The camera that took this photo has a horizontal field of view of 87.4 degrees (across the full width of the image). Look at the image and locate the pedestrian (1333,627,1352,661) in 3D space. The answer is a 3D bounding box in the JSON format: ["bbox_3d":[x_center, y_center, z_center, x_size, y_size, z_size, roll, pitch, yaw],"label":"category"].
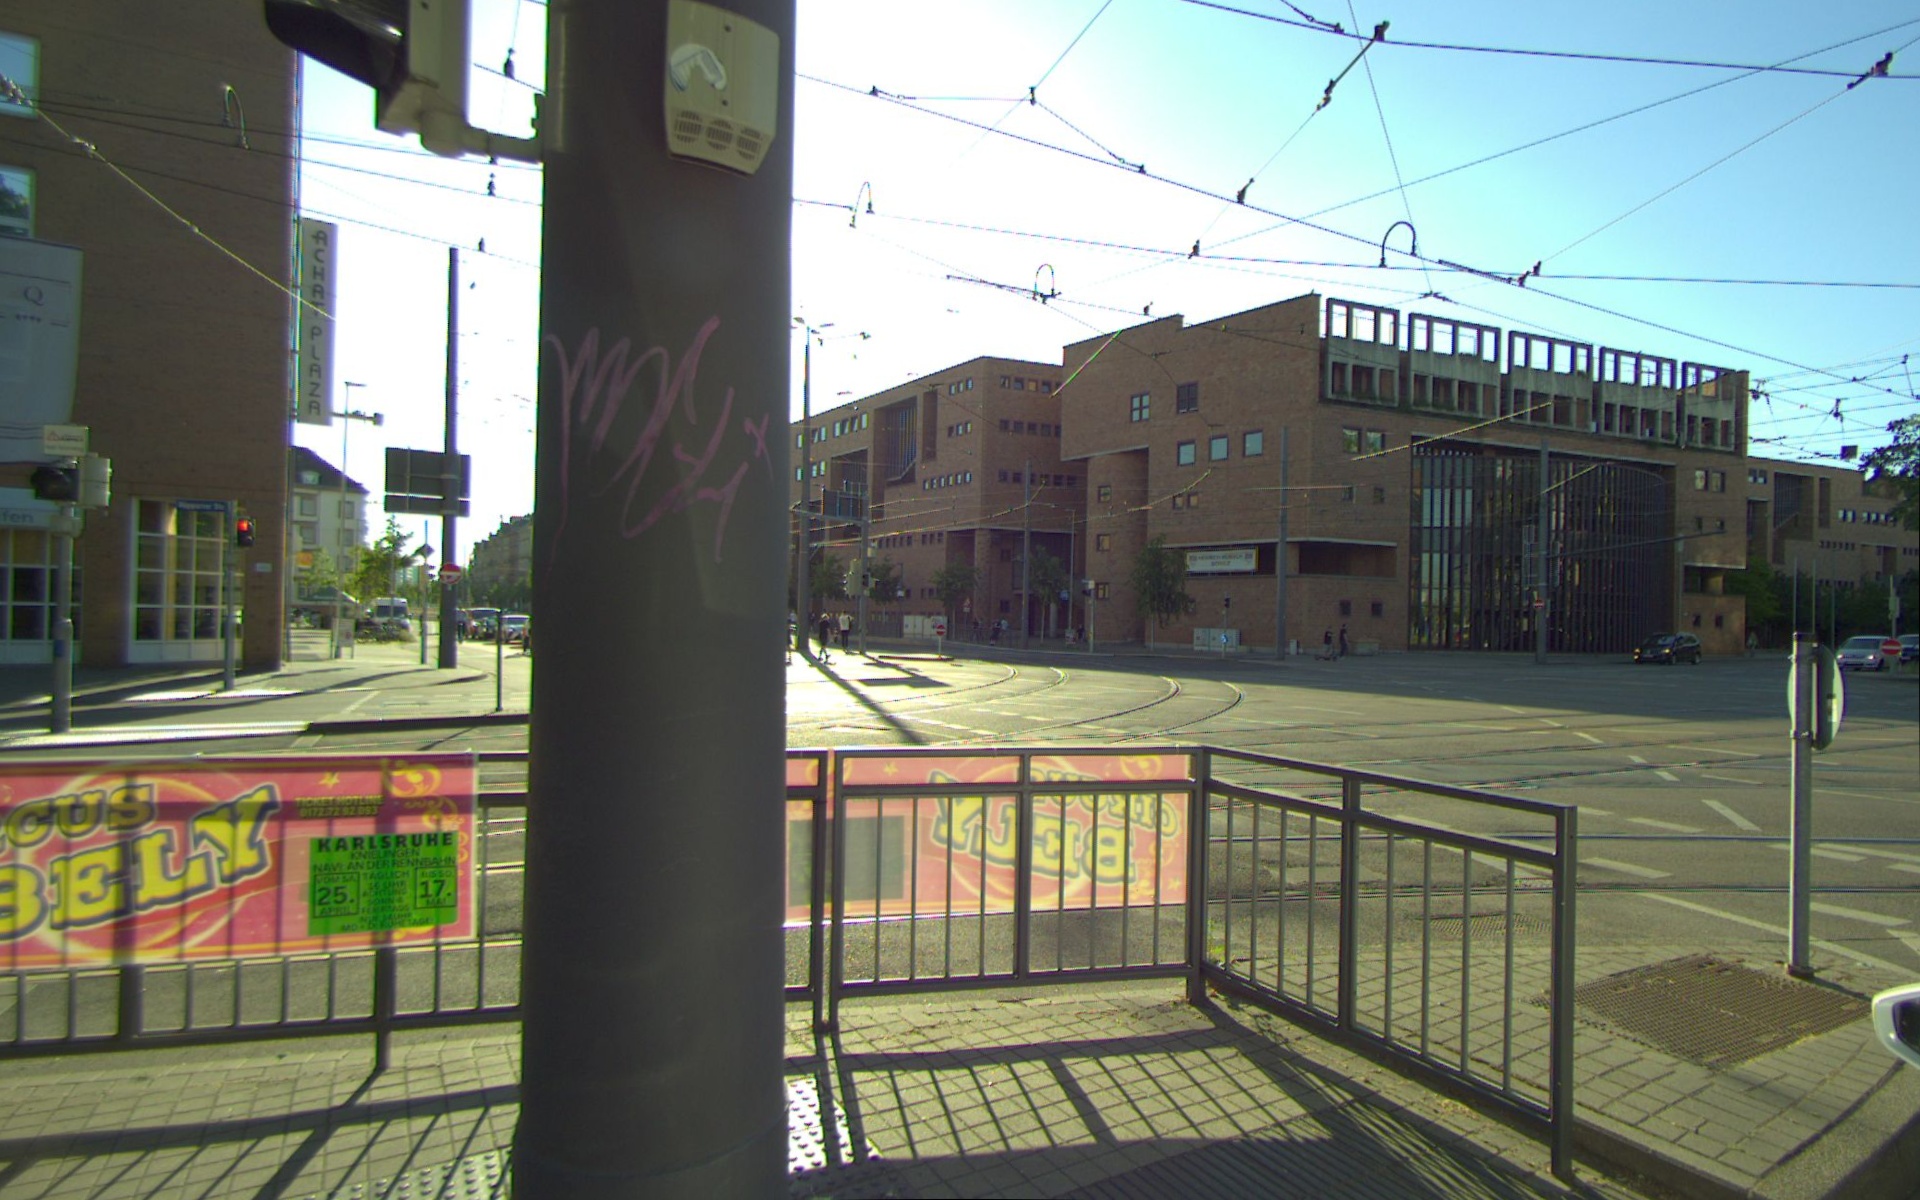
[{"bbox_3d":[19.949,2.313,52.413,0.807,1.739,0.665,1,-1,7],"label":"pedestrian"}]

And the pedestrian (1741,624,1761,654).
[{"bbox_3d":[55.386,2.737,70.342,0.748,2.040,0.894,2,-1,-25],"label":"pedestrian"}]

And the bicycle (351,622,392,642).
[{"bbox_3d":[-30.296,1.659,51.733,1.702,0.993,0.639,2,-1,-17],"label":"bicycle"}]

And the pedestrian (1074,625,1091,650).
[{"bbox_3d":[7.682,2.328,62.974,0.706,1.559,0.846,2,-1,-27],"label":"pedestrian"}]

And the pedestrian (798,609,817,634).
[{"bbox_3d":[-10.674,1.500,70.482,0.882,1.694,1.084,2,-1,-37],"label":"pedestrian"}]

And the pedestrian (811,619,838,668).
[{"bbox_3d":[-4.909,1.576,36.413,0.620,1.724,0.740,2,-1,-43],"label":"pedestrian"}]

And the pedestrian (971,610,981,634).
[{"bbox_3d":[1.214,1.614,74.358,0.533,1.779,0.460,2,-1,-37],"label":"pedestrian"}]

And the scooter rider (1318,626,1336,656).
[{"bbox_3d":[18.593,2.057,50.878,0.504,1.480,0.713,2,-1,-42],"label":"scooter rider"}]

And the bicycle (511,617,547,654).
[{"bbox_3d":[-17.688,1.427,41.210,0.924,1.461,2.082,2,-1,-35],"label":"bicycle"}]

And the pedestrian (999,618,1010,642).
[{"bbox_3d":[3.326,2.249,75.105,0.531,1.779,0.691,2,-1,-25],"label":"pedestrian"}]

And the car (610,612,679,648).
[{"bbox_3d":[-14.946,1.405,47.413,1.875,1.553,3.958,2,0,-37],"label":"car"}]

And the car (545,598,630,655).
[{"bbox_3d":[-16.332,1.129,43.895,2.066,2.319,5.210,2,-1,-37],"label":"car"}]

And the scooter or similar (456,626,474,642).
[{"bbox_3d":[-26.631,1.833,54.052,0.535,0.842,1.236,1,-1,-13],"label":"scooter or similar"}]

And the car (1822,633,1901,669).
[{"bbox_3d":[42.341,2.376,47.154,4.279,1.618,1.720,2,-1,-33],"label":"car"}]

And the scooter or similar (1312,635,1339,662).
[{"bbox_3d":[18.531,2.439,50.931,0.525,1.335,1.118,2,-1,-43],"label":"scooter or similar"}]

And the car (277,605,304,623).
[{"bbox_3d":[-67.651,1.404,101.489,1.828,1.606,4.107,2,0,-40],"label":"car"}]

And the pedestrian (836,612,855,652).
[{"bbox_3d":[-5.111,1.421,44.780,0.633,1.740,0.773,1,-1,-25],"label":"pedestrian"}]

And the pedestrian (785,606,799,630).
[{"bbox_3d":[-11.837,1.277,70.797,0.654,1.694,0.663,2,-1,-45],"label":"pedestrian"}]

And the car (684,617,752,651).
[{"bbox_3d":[-11.644,1.614,48.189,1.747,1.467,3.958,2,0,-37],"label":"car"}]

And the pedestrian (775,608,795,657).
[{"bbox_3d":[-6.345,1.164,36.482,0.629,1.740,0.777,1,-1,-7],"label":"pedestrian"}]

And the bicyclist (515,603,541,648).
[{"bbox_3d":[-17.716,1.037,41.207,0.810,1.810,0.807,2,-1,-36],"label":"bicyclist"}]

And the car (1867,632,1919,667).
[{"bbox_3d":[48.219,2.524,51.277,4.279,1.672,1.843,2,-1,-33],"label":"car"}]

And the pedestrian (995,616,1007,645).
[{"bbox_3d":[2.233,1.665,54.568,0.483,1.559,0.548,1,-1,-21],"label":"pedestrian"}]

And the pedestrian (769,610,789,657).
[{"bbox_3d":[-6.739,1.245,37.403,0.629,1.740,0.777,1,-1,-7],"label":"pedestrian"}]

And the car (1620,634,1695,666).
[{"bbox_3d":[38.199,2.721,54.992,4.452,1.676,1.823,2,-2,-33],"label":"car"}]

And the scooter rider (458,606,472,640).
[{"bbox_3d":[-26.610,1.238,54.017,0.525,1.778,0.569,1,-1,-13],"label":"scooter rider"}]

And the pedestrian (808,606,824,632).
[{"bbox_3d":[-9.836,1.293,68.569,0.882,1.694,0.665,2,-1,-37],"label":"pedestrian"}]

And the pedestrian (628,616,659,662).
[{"bbox_3d":[-10.969,1.344,34.818,0.536,1.574,0.868,1,-1,28],"label":"pedestrian"}]

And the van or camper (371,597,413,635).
[{"bbox_3d":[-36.898,0.999,65.189,1.979,2.199,5.563,2,1,-33],"label":"van or camper"}]

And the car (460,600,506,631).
[{"bbox_3d":[-31.418,0.998,66.108,1.875,1.891,4.270,2,0,-37],"label":"car"}]
